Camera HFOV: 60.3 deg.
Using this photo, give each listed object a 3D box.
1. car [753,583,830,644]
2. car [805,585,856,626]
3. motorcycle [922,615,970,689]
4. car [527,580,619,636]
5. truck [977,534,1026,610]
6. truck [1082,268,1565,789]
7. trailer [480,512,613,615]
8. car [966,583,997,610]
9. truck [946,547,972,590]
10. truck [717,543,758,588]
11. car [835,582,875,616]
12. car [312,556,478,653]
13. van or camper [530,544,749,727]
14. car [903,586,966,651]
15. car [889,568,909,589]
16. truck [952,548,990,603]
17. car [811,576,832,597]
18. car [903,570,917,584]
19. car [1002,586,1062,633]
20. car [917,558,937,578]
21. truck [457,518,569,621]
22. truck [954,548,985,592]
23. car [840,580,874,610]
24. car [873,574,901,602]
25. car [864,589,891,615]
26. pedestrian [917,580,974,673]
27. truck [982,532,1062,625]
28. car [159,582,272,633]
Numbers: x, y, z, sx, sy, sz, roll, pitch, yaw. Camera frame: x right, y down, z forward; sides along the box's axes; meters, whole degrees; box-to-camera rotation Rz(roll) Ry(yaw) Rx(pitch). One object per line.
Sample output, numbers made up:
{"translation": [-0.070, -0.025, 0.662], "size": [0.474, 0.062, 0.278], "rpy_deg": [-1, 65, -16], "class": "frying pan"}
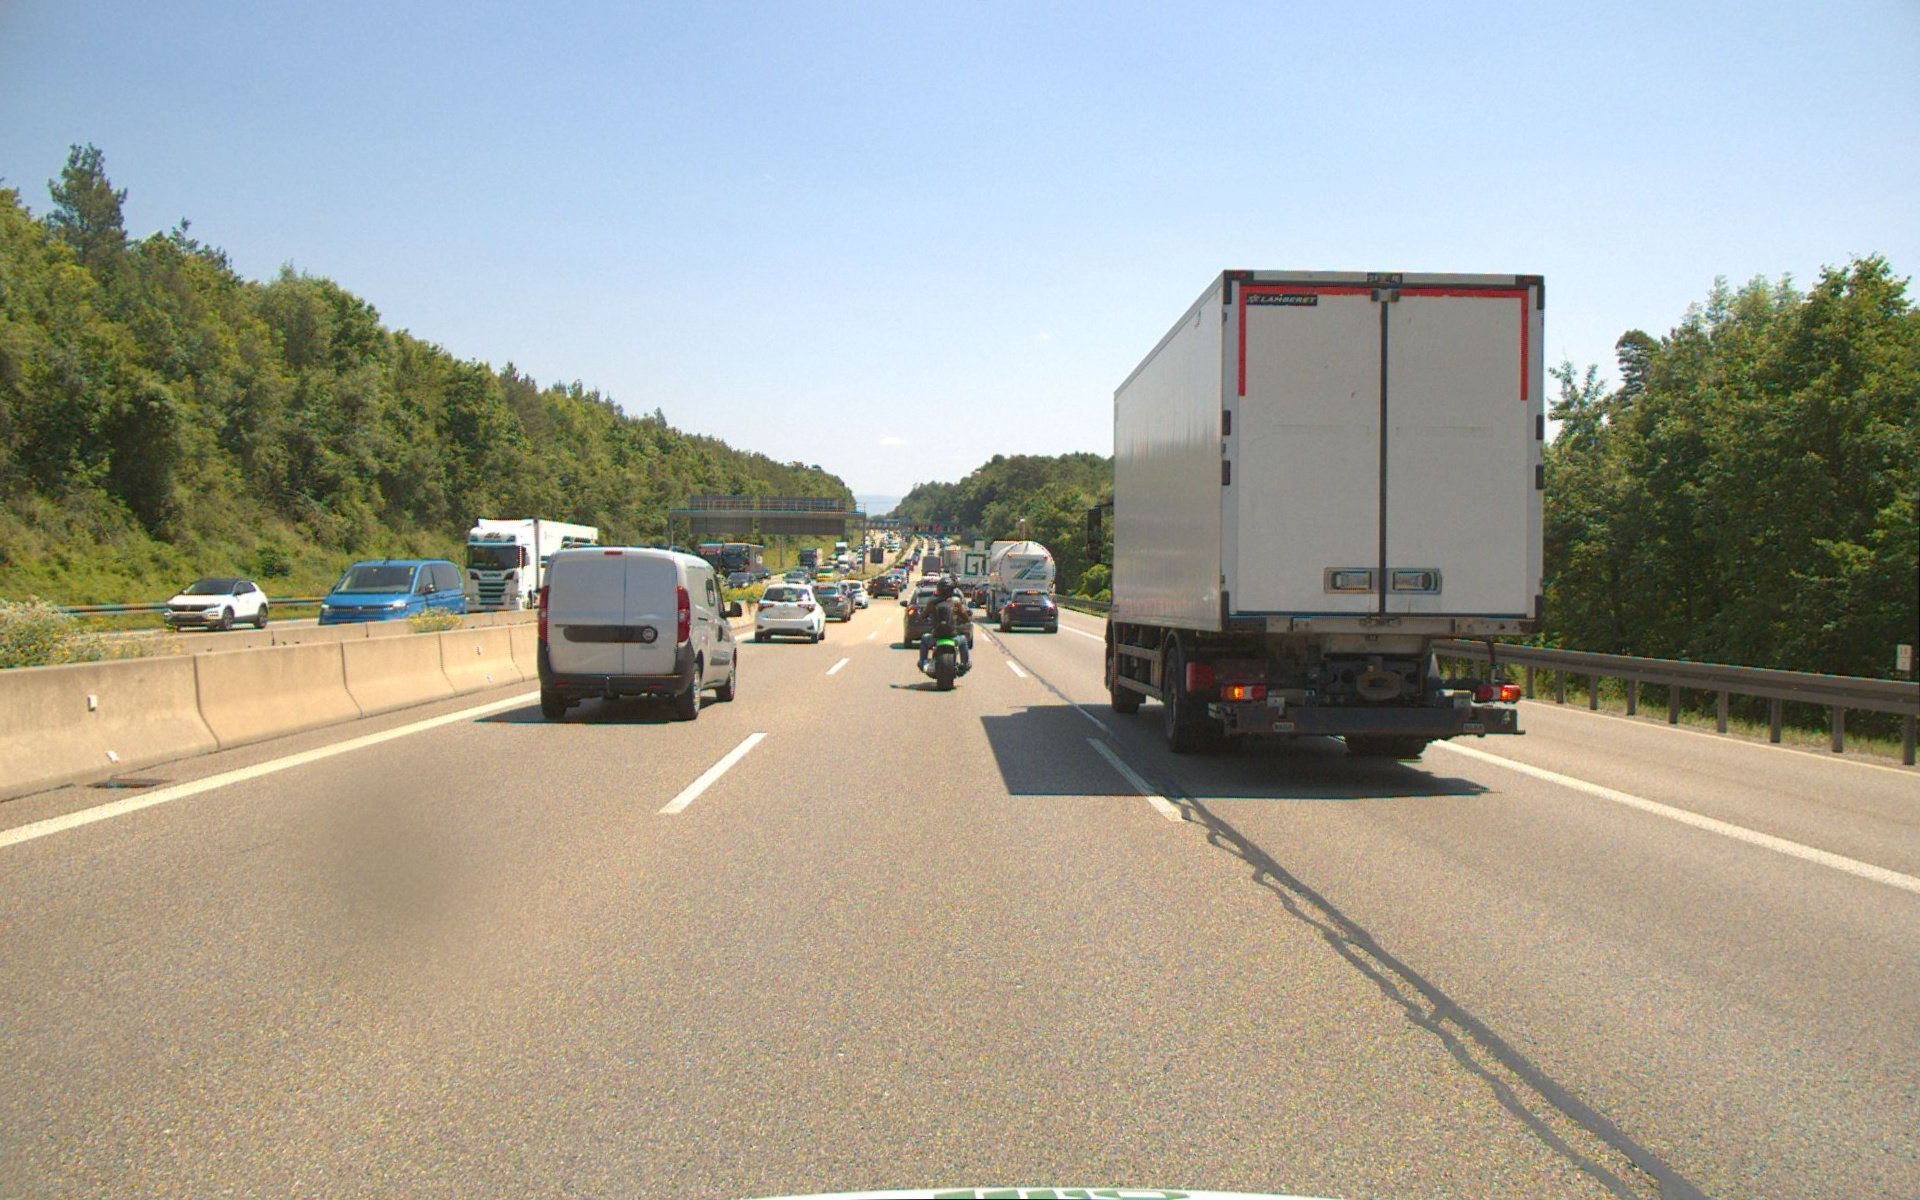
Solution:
{"translation": [-4.426, 0.329, 43.859], "size": [1.665, 1.504, 3.999], "rpy_deg": [1, 1, -1], "class": "car"}
{"translation": [-4.919, 0.189, 63.222], "size": [1.665, 1.504, 3.999], "rpy_deg": [1, 1, -1], "class": "car"}
{"translation": [-0.204, 0.782, 25.423], "size": [0.677, 1.033, 2.121], "rpy_deg": [1, 0, 0], "class": "motorcycle"}
{"translation": [-11.976, 0.225, 51.401], "size": [1.867, 1.668, 4.536], "rpy_deg": [0, 0, -1], "class": "car"}
{"translation": [2.023, -1.340, 81.617], "size": [1.954, 3.584, 4.748], "rpy_deg": [-1, 0, -3], "class": "truck"}
{"translation": [3.179, -0.587, 17.674], "size": [2.634, 3.944, 9.777], "rpy_deg": [-2, 0, -2], "class": "truck"}
{"translation": [-19.330, -1.570, 78.509], "size": [2.745, 4.414, 14.036], "rpy_deg": [-1, 0, 0], "class": "trailer"}
{"translation": [1.320, -0.245, 101.590], "size": [1.751, 1.583, 3.803], "rpy_deg": [1, 1, -1], "class": "car"}
{"translation": [-0.119, -3.943, 210.372], "size": [2.972, 5.229, 9.981], "rpy_deg": [2, 1, -1], "class": "truck"}
{"translation": [-20.891, -3.214, 155.752], "size": [2.847, 4.043, 7.767], "rpy_deg": [-1, 0, -1], "class": "truck"}
{"translation": [-4.887, -0.047, 77.193], "size": [1.665, 1.504, 3.999], "rpy_deg": [1, 1, -1], "class": "car"}
{"translation": [-11.941, 0.091, 35.348], "size": [1.873, 1.879, 5.035], "rpy_deg": [-1, 0, -1], "class": "car"}
{"translation": [-3.706, 0.388, 19.831], "size": [1.759, 1.925, 4.160], "rpy_deg": [1, 0, 0], "class": "van or camper"}
{"translation": [-0.672, 0.423, 42.020], "size": [1.502, 1.536, 3.999], "rpy_deg": [-1, 0, -2], "class": "car"}
{"translation": [-6.219, -2.226, 169.427], "size": [1.890, 2.049, 3.999], "rpy_deg": [-1, 0, 0], "class": "car"}
{"translation": [0.923, -2.198, 146.669], "size": [2.972, 4.621, 9.981], "rpy_deg": [2, 1, -1], "class": "truck"}
{"translation": [-14.444, -1.404, 172.713], "size": [1.841, 2.049, 4.467], "rpy_deg": [-2, 0, -1], "class": "car"}
{"translation": [-7.541, -3.548, 250.532], "size": [1.953, 2.049, 4.000], "rpy_deg": [1, 1, -1], "class": "car"}
{"translation": [2.440, 0.288, 57.020], "size": [1.791, 1.496, 3.999], "rpy_deg": [1, 1, -1], "class": "car"}
{"translation": [-4.251, -4.129, 213.866], "size": [2.453, 2.632, 5.015], "rpy_deg": [1, 1, -1], "class": "car"}
{"translation": [-19.339, -1.261, 72.047], "size": [2.745, 4.238, 7.599], "rpy_deg": [-1, 0, 0], "class": "truck"}
{"translation": [1.009, -3.299, 182.311], "size": [2.972, 4.621, 9.981], "rpy_deg": [2, 1, -1], "class": "truck"}
{"translation": [-5.518, -0.284, 88.861], "size": [1.665, 1.504, 3.999], "rpy_deg": [1, 1, -1], "class": "car"}
{"translation": [-5.236, -0.884, 119.607], "size": [1.842, 1.892, 4.000], "rpy_deg": [1, 1, -1], "class": "car"}
{"translation": [-6.628, 0.166, 133.211], "size": [1.953, 2.049, 3.999], "rpy_deg": [-1, 0, 0], "class": "car"}
{"translation": [-0.214, 0.389, 25.382], "size": [0.832, 1.385, 0.961], "rpy_deg": [-1, 0, 0], "class": "pedestrian"}
{"translation": [2.626, -0.875, 72.715], "size": [2.927, 3.735, 9.285], "rpy_deg": [-1, 0, -1], "class": "truck"}
{"translation": [-22.724, 0.205, 50.628], "size": [1.633, 1.492, 4.189], "rpy_deg": [0, 0, -1], "class": "car"}
